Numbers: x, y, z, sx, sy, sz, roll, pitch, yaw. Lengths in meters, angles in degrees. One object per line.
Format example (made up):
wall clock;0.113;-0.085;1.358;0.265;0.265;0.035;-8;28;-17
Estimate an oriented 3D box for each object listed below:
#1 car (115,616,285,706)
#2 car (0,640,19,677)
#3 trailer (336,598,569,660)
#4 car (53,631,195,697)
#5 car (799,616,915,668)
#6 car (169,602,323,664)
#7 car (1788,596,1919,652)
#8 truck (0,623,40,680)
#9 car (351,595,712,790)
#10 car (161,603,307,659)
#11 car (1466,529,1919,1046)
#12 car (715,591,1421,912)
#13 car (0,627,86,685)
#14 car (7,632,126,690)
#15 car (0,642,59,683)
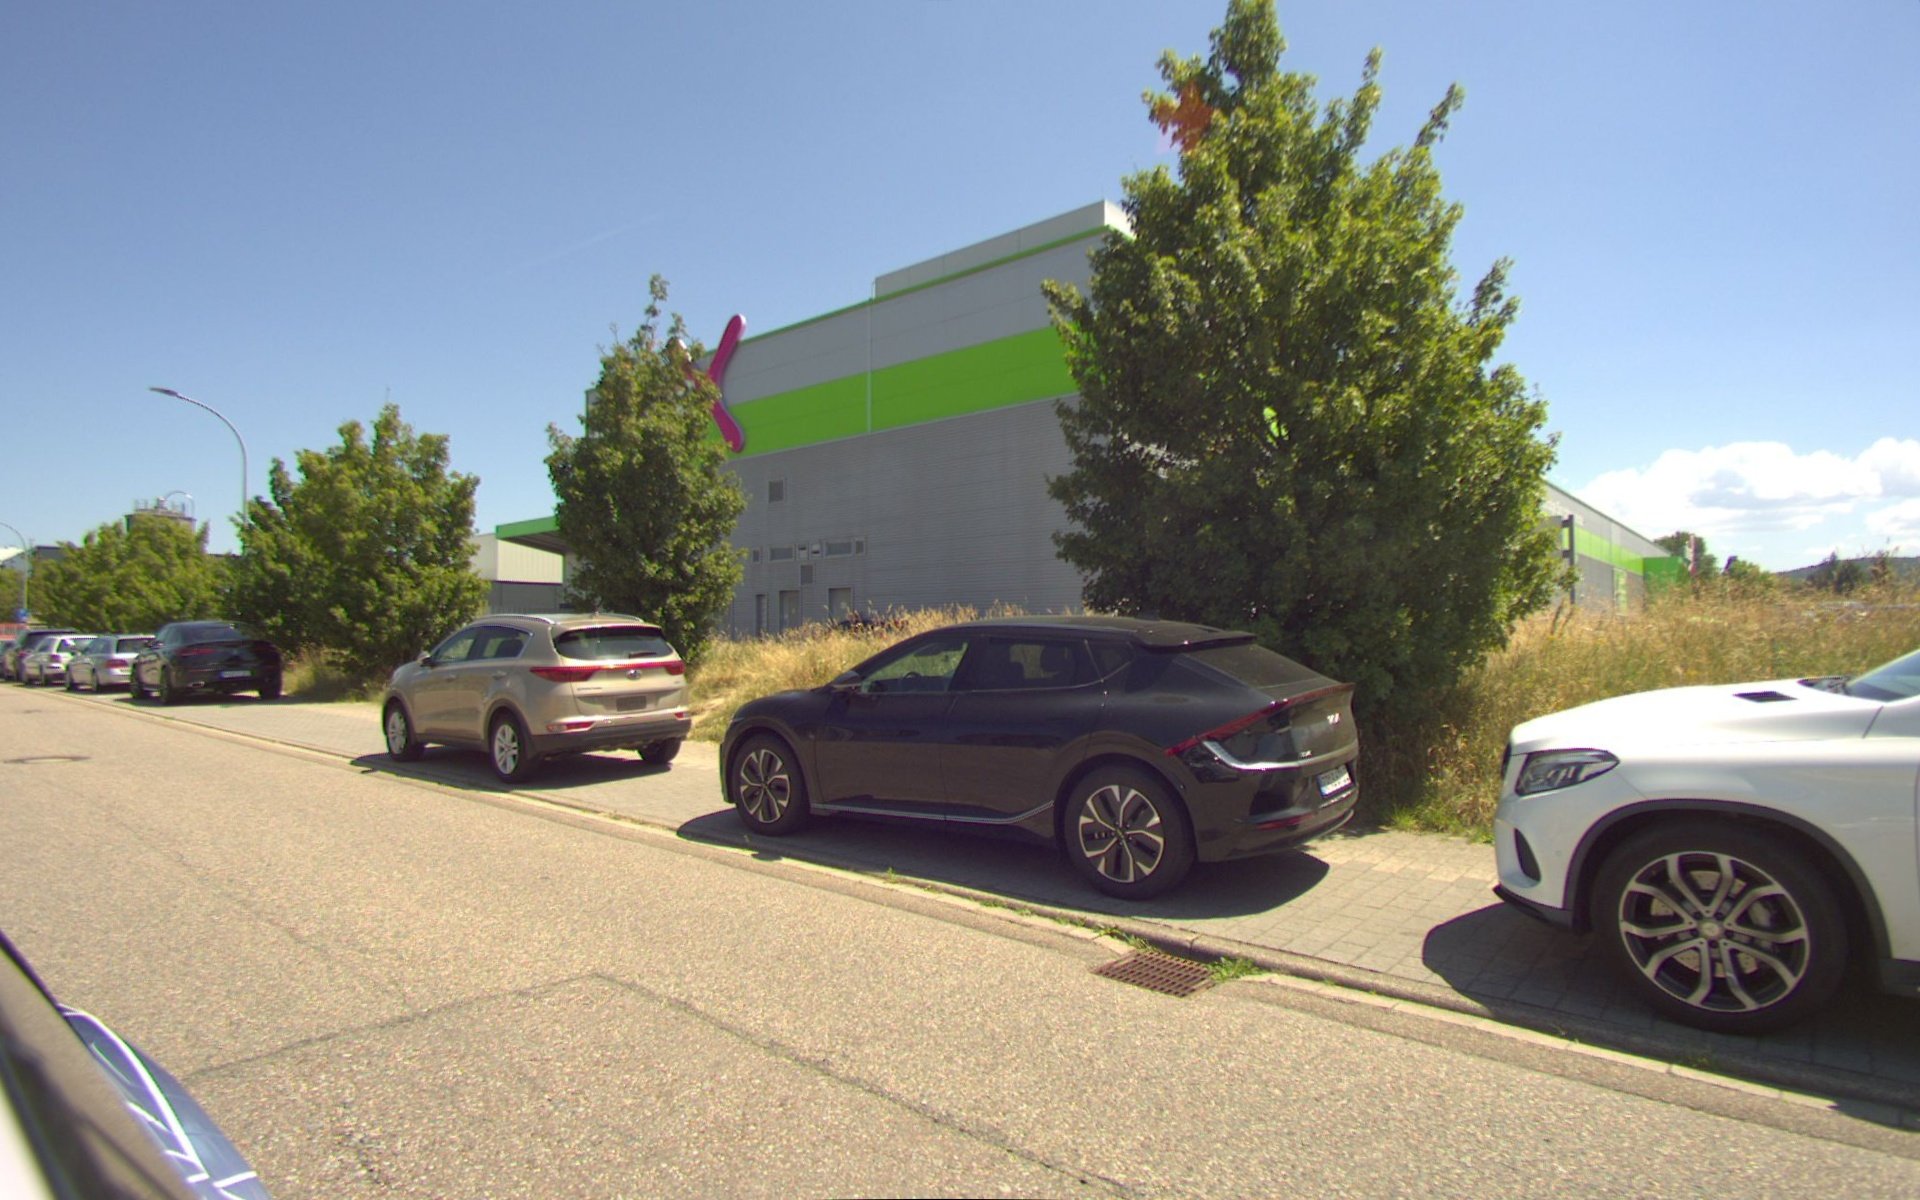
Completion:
car;-16.766;1.279;22.227;5.004;1.726;1.971;-2;-1;41
car;-43.018;2.577;44.533;3.762;1.562;1.833;-2;-1;39
trailer;-36.647;2.234;74.123;3.218;4.119;15.158;-2;-3;41
car;-22.105;1.637;26.689;5.160;1.530;1.834;-2;-1;38
car;-2.957;1.187;28.749;3.236;1.362;1.416;-2;-1;41
car;-35.861;1.610;50.960;2.519;2.948;5.914;-2;-2;40
car;26.765;0.688;29.508;3.996;1.556;1.974;-2;-2;39
truck;-39.568;2.114;41.718;4.642;2.239;1.833;-2;-1;40
car;-4.857;0.874;11.168;4.410;1.726;1.893;-2;-1;40
car;-38.511;1.602;53.813;2.519;2.846;5.914;-2;-2;40
car;4.503;0.602;3.333;4.751;1.668;1.893;-2;-3;40
car;0.517;0.761;6.853;4.406;1.503;1.894;-2;-1;38
car;-31.055;1.849;34.080;4.985;1.772;1.832;-2;-1;42
car;-26.858;1.785;30.376;4.898;1.530;1.834;-2;-1;38
car;-35.476;2.295;37.997;4.750;1.454;1.832;-2;-3;41
